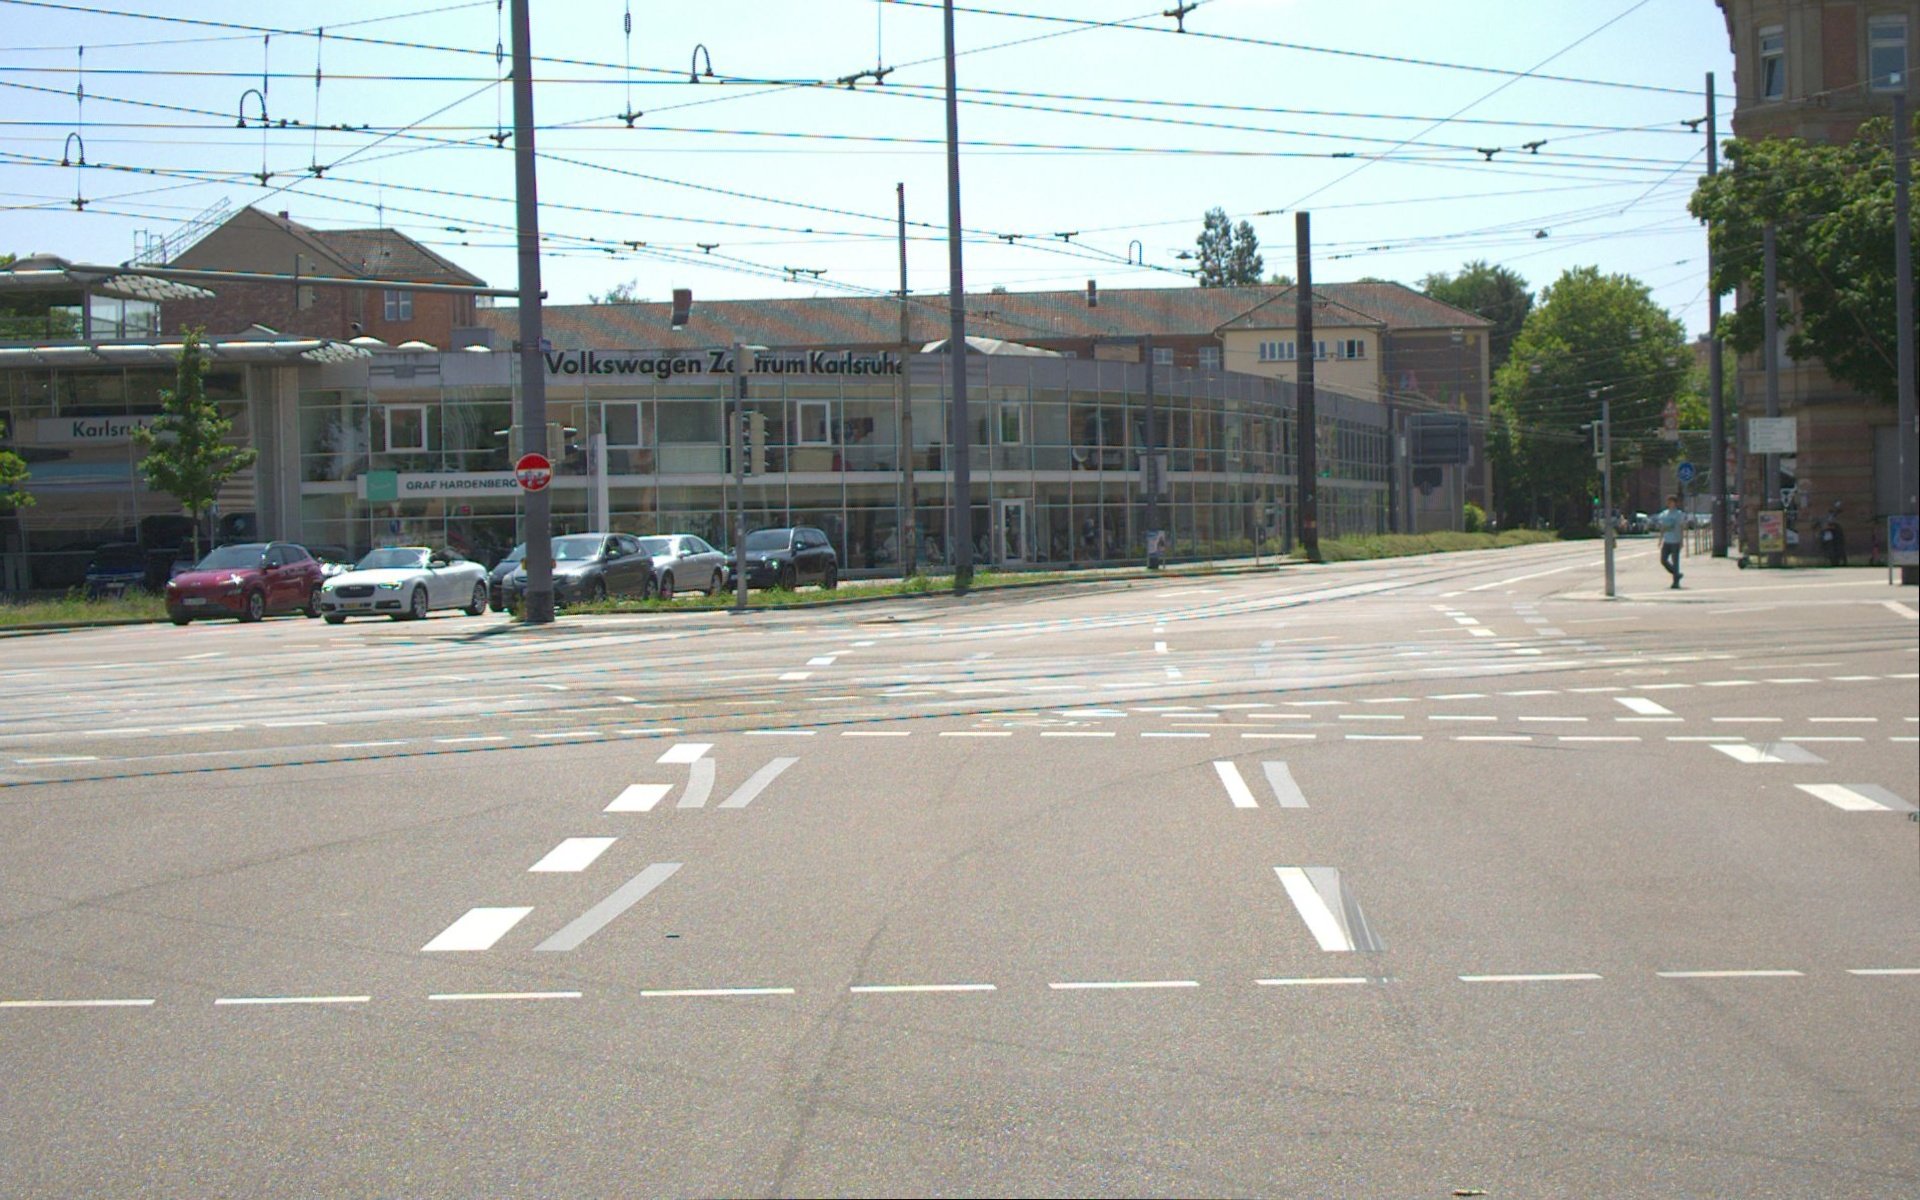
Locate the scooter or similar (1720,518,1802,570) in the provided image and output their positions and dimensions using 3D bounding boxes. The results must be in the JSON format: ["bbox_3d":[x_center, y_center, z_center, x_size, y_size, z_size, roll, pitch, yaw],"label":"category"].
[{"bbox_3d":[19.005,-1.332,81.574,1.786,1.177,0.600,-1,1,-15],"label":"scooter or similar"}]

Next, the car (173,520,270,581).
[{"bbox_3d":[-21.479,-1.421,100.117,1.920,1.701,4.000,1,0,0],"label":"car"}]

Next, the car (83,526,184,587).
[{"bbox_3d":[-24.000,-1.258,99.944,1.920,1.701,4.000,1,0,0],"label":"car"}]

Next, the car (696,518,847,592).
[{"bbox_3d":[-4.501,-1.097,82.950,2.080,1.677,4.842,-1,1,17],"label":"car"}]

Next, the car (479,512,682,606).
[{"bbox_3d":[-7.043,-0.796,64.331,1.995,1.631,4.842,-1,1,17],"label":"car"}]

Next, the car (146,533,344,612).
[{"bbox_3d":[-14.264,-0.574,68.896,1.995,1.460,4.843,-1,1,13],"label":"car"}]

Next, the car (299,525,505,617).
[{"bbox_3d":[-10.332,-0.566,64.044,2.078,1.574,4.843,-1,1,13],"label":"car"}]

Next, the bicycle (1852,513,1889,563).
[{"bbox_3d":[20.830,-1.424,78.672,0.551,1.116,1.820,-1,1,6],"label":"bicycle"}]

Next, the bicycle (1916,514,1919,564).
[{"bbox_3d":[22.232,-1.390,78.509,0.442,1.142,2.093,1,0,6],"label":"bicycle"}]

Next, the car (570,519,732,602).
[{"bbox_3d":[-6.801,-0.897,76.102,1.995,1.733,4.540,-1,1,17],"label":"car"}]

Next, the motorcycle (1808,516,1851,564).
[{"bbox_3d":[19.932,-1.384,78.811,0.580,1.071,1.946,-1,1,4],"label":"motorcycle"}]

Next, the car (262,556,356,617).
[{"bbox_3d":[-18.903,-0.405,99.975,1.920,1.701,4.000,1,0,0],"label":"car"}]

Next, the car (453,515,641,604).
[{"bbox_3d":[-8.376,-0.854,70.164,1.995,1.694,4.842,-1,1,17],"label":"car"}]

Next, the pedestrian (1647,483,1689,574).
[{"bbox_3d":[13.436,-1.351,65.213,0.461,1.702,0.640,-2,1,-27],"label":"pedestrian"}]
